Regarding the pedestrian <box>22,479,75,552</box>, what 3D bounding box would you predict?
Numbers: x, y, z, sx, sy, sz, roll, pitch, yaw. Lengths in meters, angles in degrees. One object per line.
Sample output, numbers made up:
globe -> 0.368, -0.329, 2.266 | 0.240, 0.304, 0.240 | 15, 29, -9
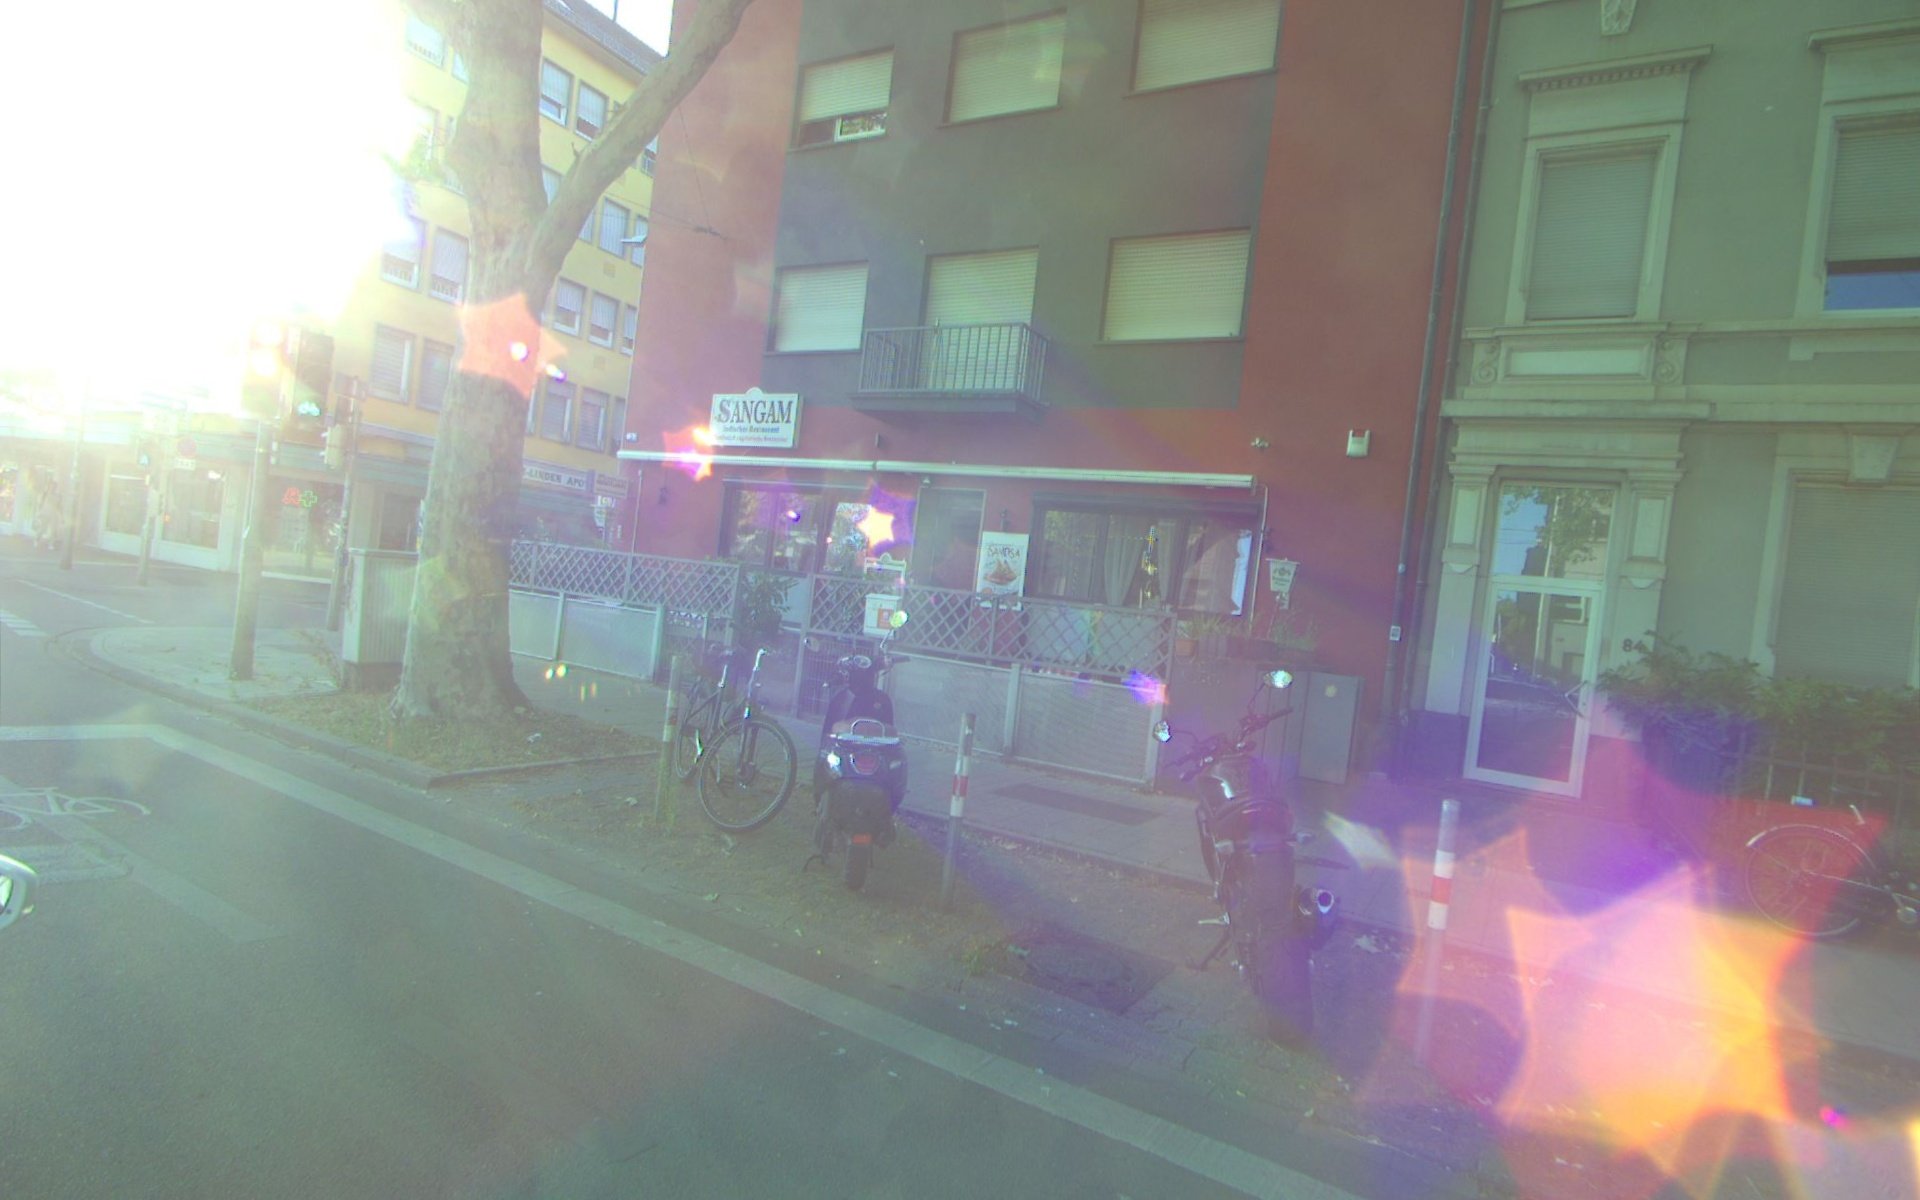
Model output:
pedestrian -> -23.961, -2.225, 26.449 | 0.880, 1.803, 0.744 | 6, 2, 31

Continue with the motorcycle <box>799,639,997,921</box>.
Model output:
motorcycle -> -0.438, 0.911, 5.730 | 0.772, 1.126, 1.885 | 6, 2, -11

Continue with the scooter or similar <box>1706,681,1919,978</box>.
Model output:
scooter or similar -> 5.748, 1.355, 5.484 | 2.502, 1.488, 0.665 | 7, 1, 32

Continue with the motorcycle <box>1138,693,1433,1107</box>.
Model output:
motorcycle -> 1.324, 1.151, 4.619 | 0.651, 1.125, 2.212 | 7, 2, 4

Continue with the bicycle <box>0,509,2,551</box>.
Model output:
bicycle -> -23.340, -1.696, 23.131 | 0.531, 1.021, 1.800 | 7, 2, 28

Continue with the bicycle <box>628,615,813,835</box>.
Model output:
bicycle -> -1.690, 0.781, 6.853 | 0.614, 1.126, 1.784 | 5, 3, -31
